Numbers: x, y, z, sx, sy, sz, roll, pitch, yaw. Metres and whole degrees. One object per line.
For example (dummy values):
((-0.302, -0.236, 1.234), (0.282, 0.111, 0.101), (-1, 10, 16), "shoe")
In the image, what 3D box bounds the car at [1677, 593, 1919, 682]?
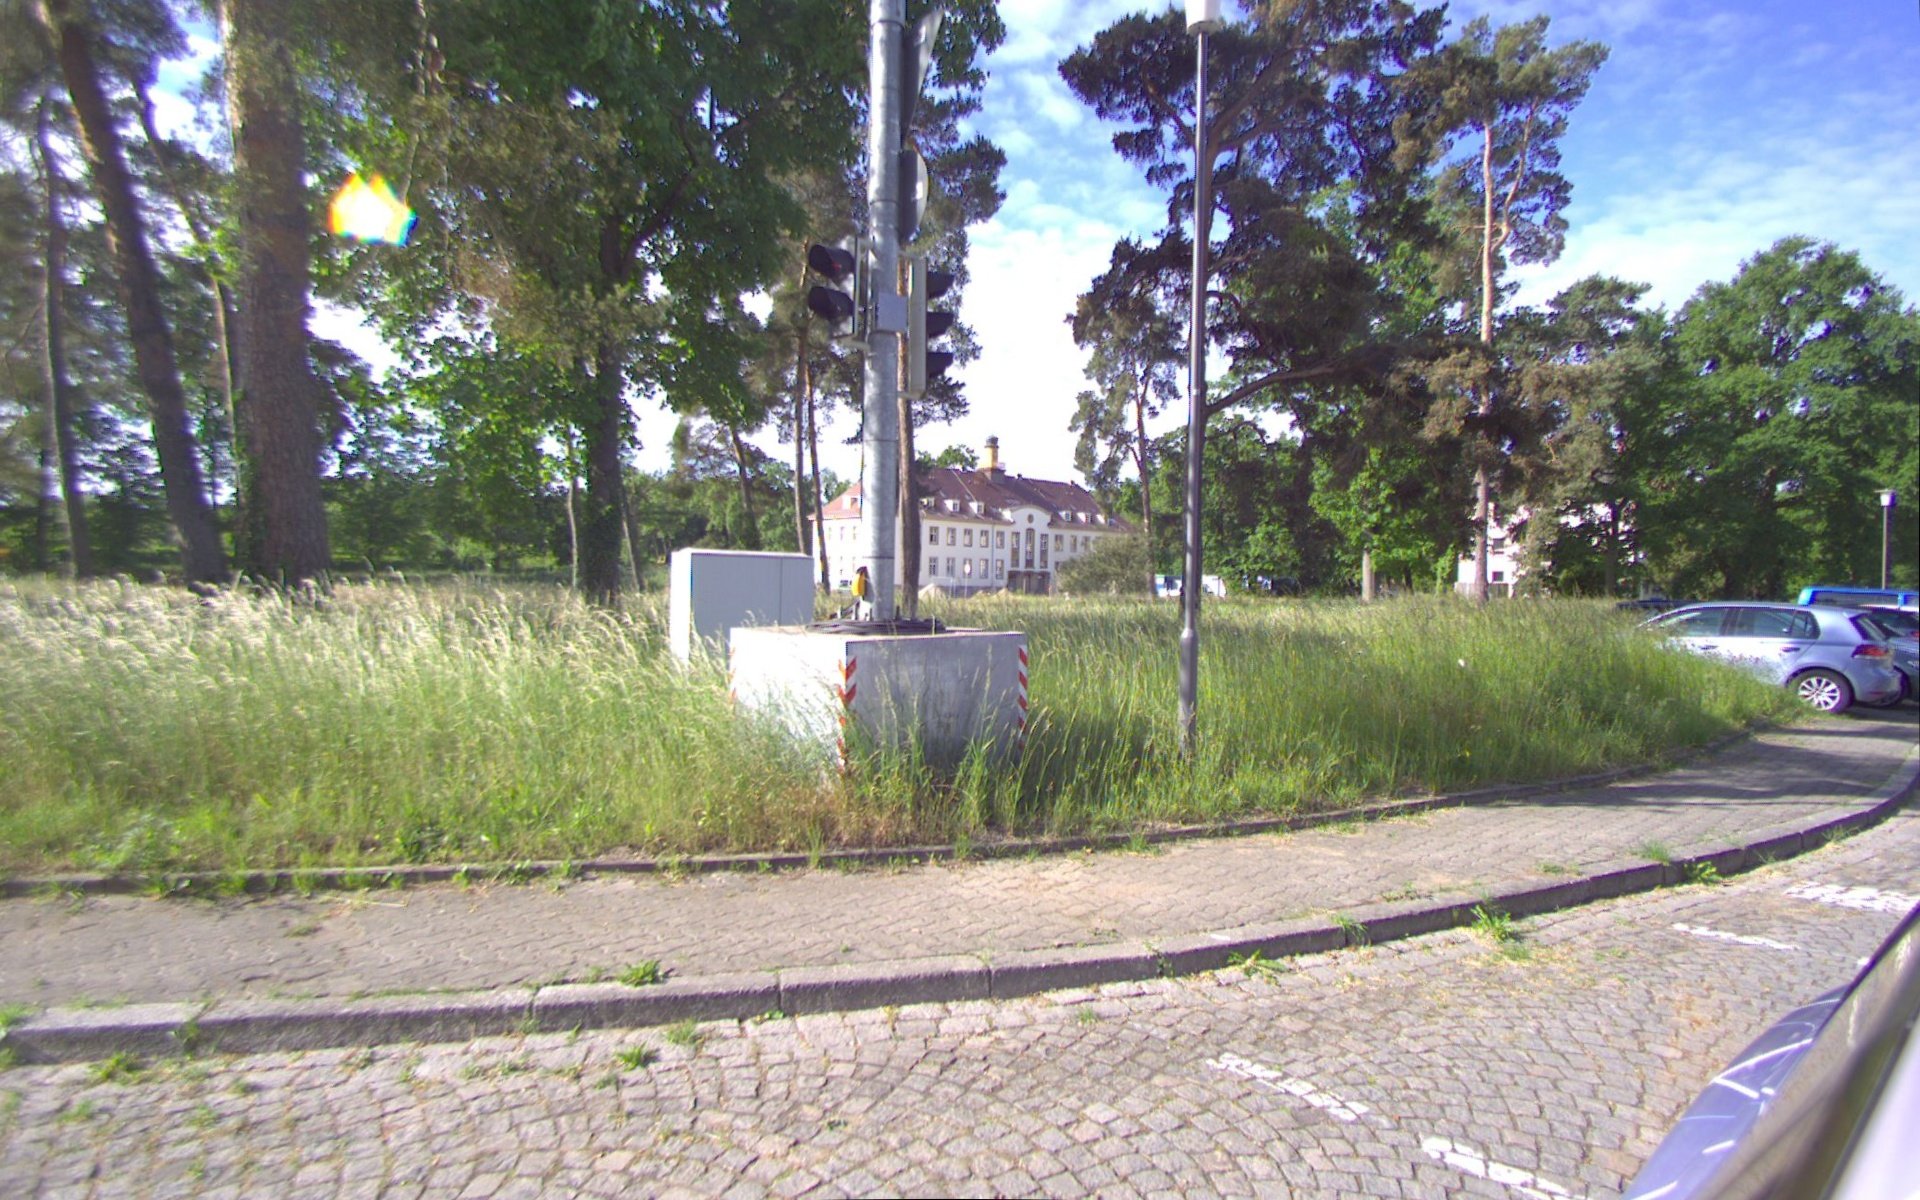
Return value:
((16.518, 0.660, 19.667), (1.632, 1.410, 3.914), (0, 3, -42), "car")

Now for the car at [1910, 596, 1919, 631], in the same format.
((49.689, 0.629, 49.857), (1.725, 1.763, 3.995), (-1, -1, -39), "car")

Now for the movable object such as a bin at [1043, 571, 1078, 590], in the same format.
((13.203, -2.567, 132.882), (1.994, 2.352, 4.907), (2, 1, 44), "movable object such as a bin")

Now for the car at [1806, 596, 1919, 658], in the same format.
((24.503, 0.696, 26.600), (1.423, 1.509, 3.264), (0, 1, -39), "car")

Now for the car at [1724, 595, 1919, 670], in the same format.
((19.913, 0.679, 23.047), (1.523, 1.509, 3.775), (0, 1, -42), "car")

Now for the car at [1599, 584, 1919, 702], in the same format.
((13.042, 0.596, 16.154), (1.796, 1.535, 4.498), (0, 3, -45), "car")

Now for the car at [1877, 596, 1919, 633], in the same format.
((42.107, 0.659, 43.317), (1.725, 1.537, 3.997), (0, 1, -39), "car")

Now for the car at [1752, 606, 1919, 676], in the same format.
((18.513, 0.812, 20.785), (1.395, 1.271, 3.353), (0, 1, -42), "car")

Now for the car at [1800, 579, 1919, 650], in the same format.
((28.348, 0.431, 30.250), (1.965, 2.039, 4.725), (0, 1, -40), "car")

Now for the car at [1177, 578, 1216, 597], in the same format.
((27.018, -1.413, 115.649), (4.689, 2.039, 1.997), (0, 1, -41), "car")

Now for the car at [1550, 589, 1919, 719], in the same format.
((11.049, 0.648, 14.586), (1.839, 1.478, 4.022), (0, 2, -42), "car")

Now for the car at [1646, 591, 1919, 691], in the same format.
((15.065, 0.667, 18.004), (1.795, 1.419, 4.419), (0, 3, -42), "car")

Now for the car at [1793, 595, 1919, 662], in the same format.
((22.668, 0.681, 24.439), (1.478, 1.509, 3.629), (0, 1, -32), "car")

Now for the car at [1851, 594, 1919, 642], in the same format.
((34.752, 0.648, 36.263), (1.725, 1.660, 3.997), (0, 1, -39), "car")
